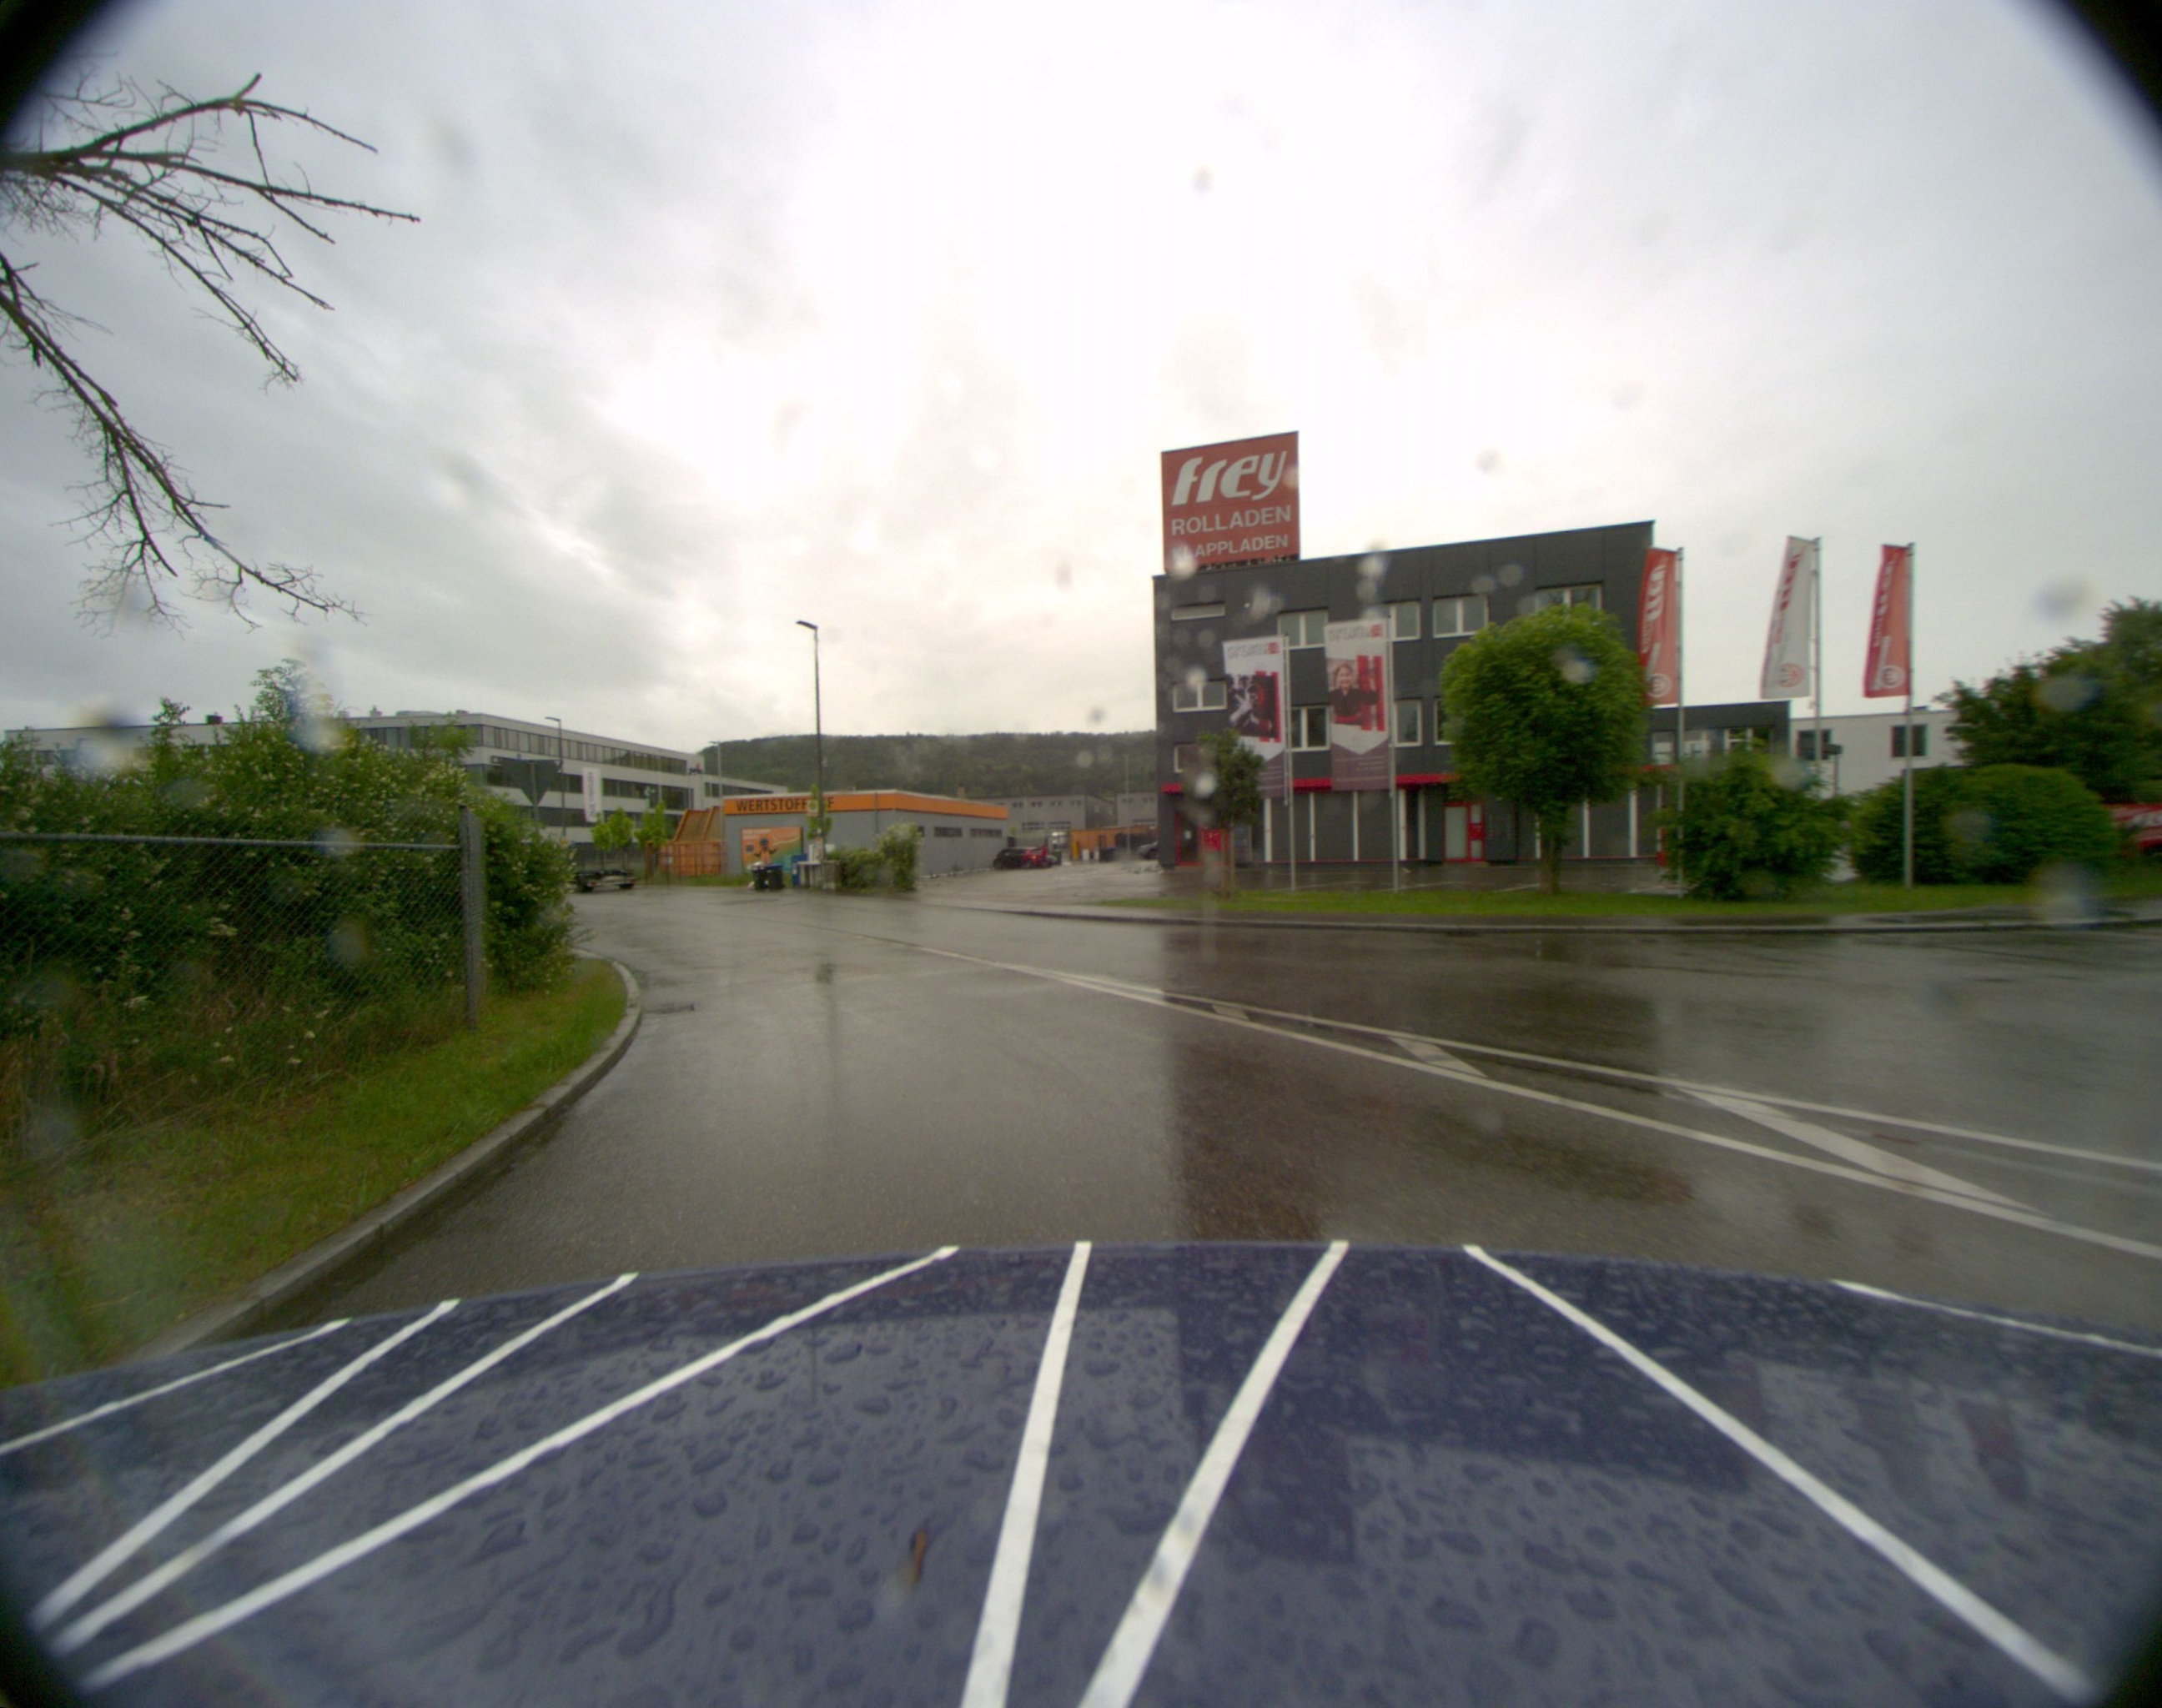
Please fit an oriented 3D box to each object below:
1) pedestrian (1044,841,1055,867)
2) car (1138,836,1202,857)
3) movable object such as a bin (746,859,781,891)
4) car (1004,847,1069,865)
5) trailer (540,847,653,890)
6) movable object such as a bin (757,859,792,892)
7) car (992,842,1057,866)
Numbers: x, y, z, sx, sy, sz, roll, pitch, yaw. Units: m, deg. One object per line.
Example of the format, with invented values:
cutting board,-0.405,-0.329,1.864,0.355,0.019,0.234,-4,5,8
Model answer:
pedestrian,-2.068,-0.007,50.233,0.431,1.662,0.704,-1,1,20
car,6.265,-0.523,53.855,4.195,1.379,1.999,-1,1,-6
movable object such as a bin,-13.630,0.874,32.620,1.000,1.315,0.983,0,1,42
car,-3.202,0.136,54.361,4.186,1.154,1.936,-1,1,26
trailer,-25.355,0.713,39.680,6.618,2.002,2.581,-1,2,36
movable object such as a bin,-12.881,0.893,31.935,1.000,1.315,0.983,0,1,42
car,-3.869,0.001,51.826,3.989,1.566,1.928,-1,1,33
